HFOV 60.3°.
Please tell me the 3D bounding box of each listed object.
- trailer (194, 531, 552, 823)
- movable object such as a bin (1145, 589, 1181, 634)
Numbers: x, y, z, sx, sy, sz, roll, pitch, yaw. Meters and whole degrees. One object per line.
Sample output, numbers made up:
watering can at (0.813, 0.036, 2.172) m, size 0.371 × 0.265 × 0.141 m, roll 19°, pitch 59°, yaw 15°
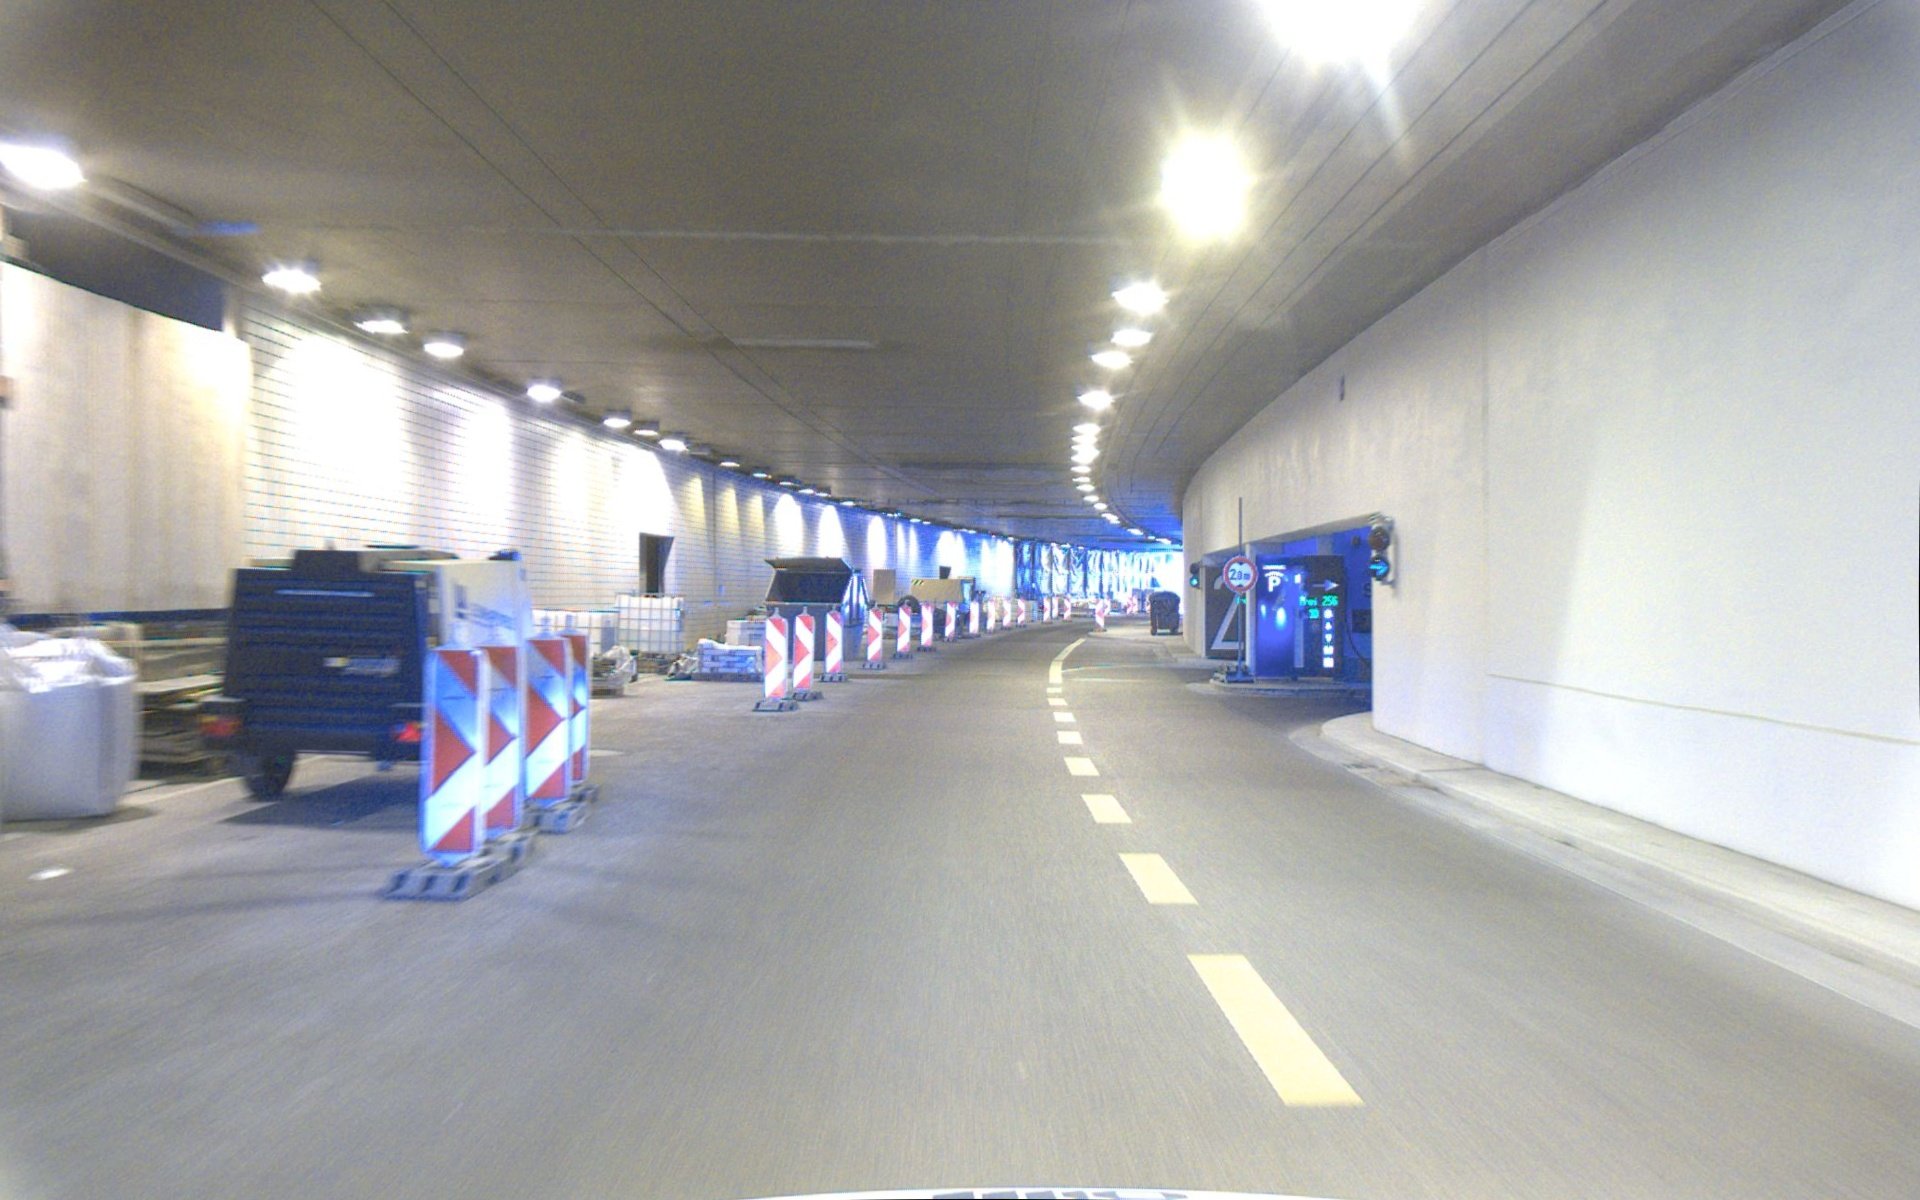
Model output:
trailer at (-4.103, 0.496, 12.010) m, size 1.548 × 1.829 × 2.939 m, roll 1°, pitch 0°, yaw -1°
movable object such as a bin at (6.975, 0.396, 56.834) m, size 1.169 × 1.486 × 1.606 m, roll -2°, pitch 0°, yaw 7°
